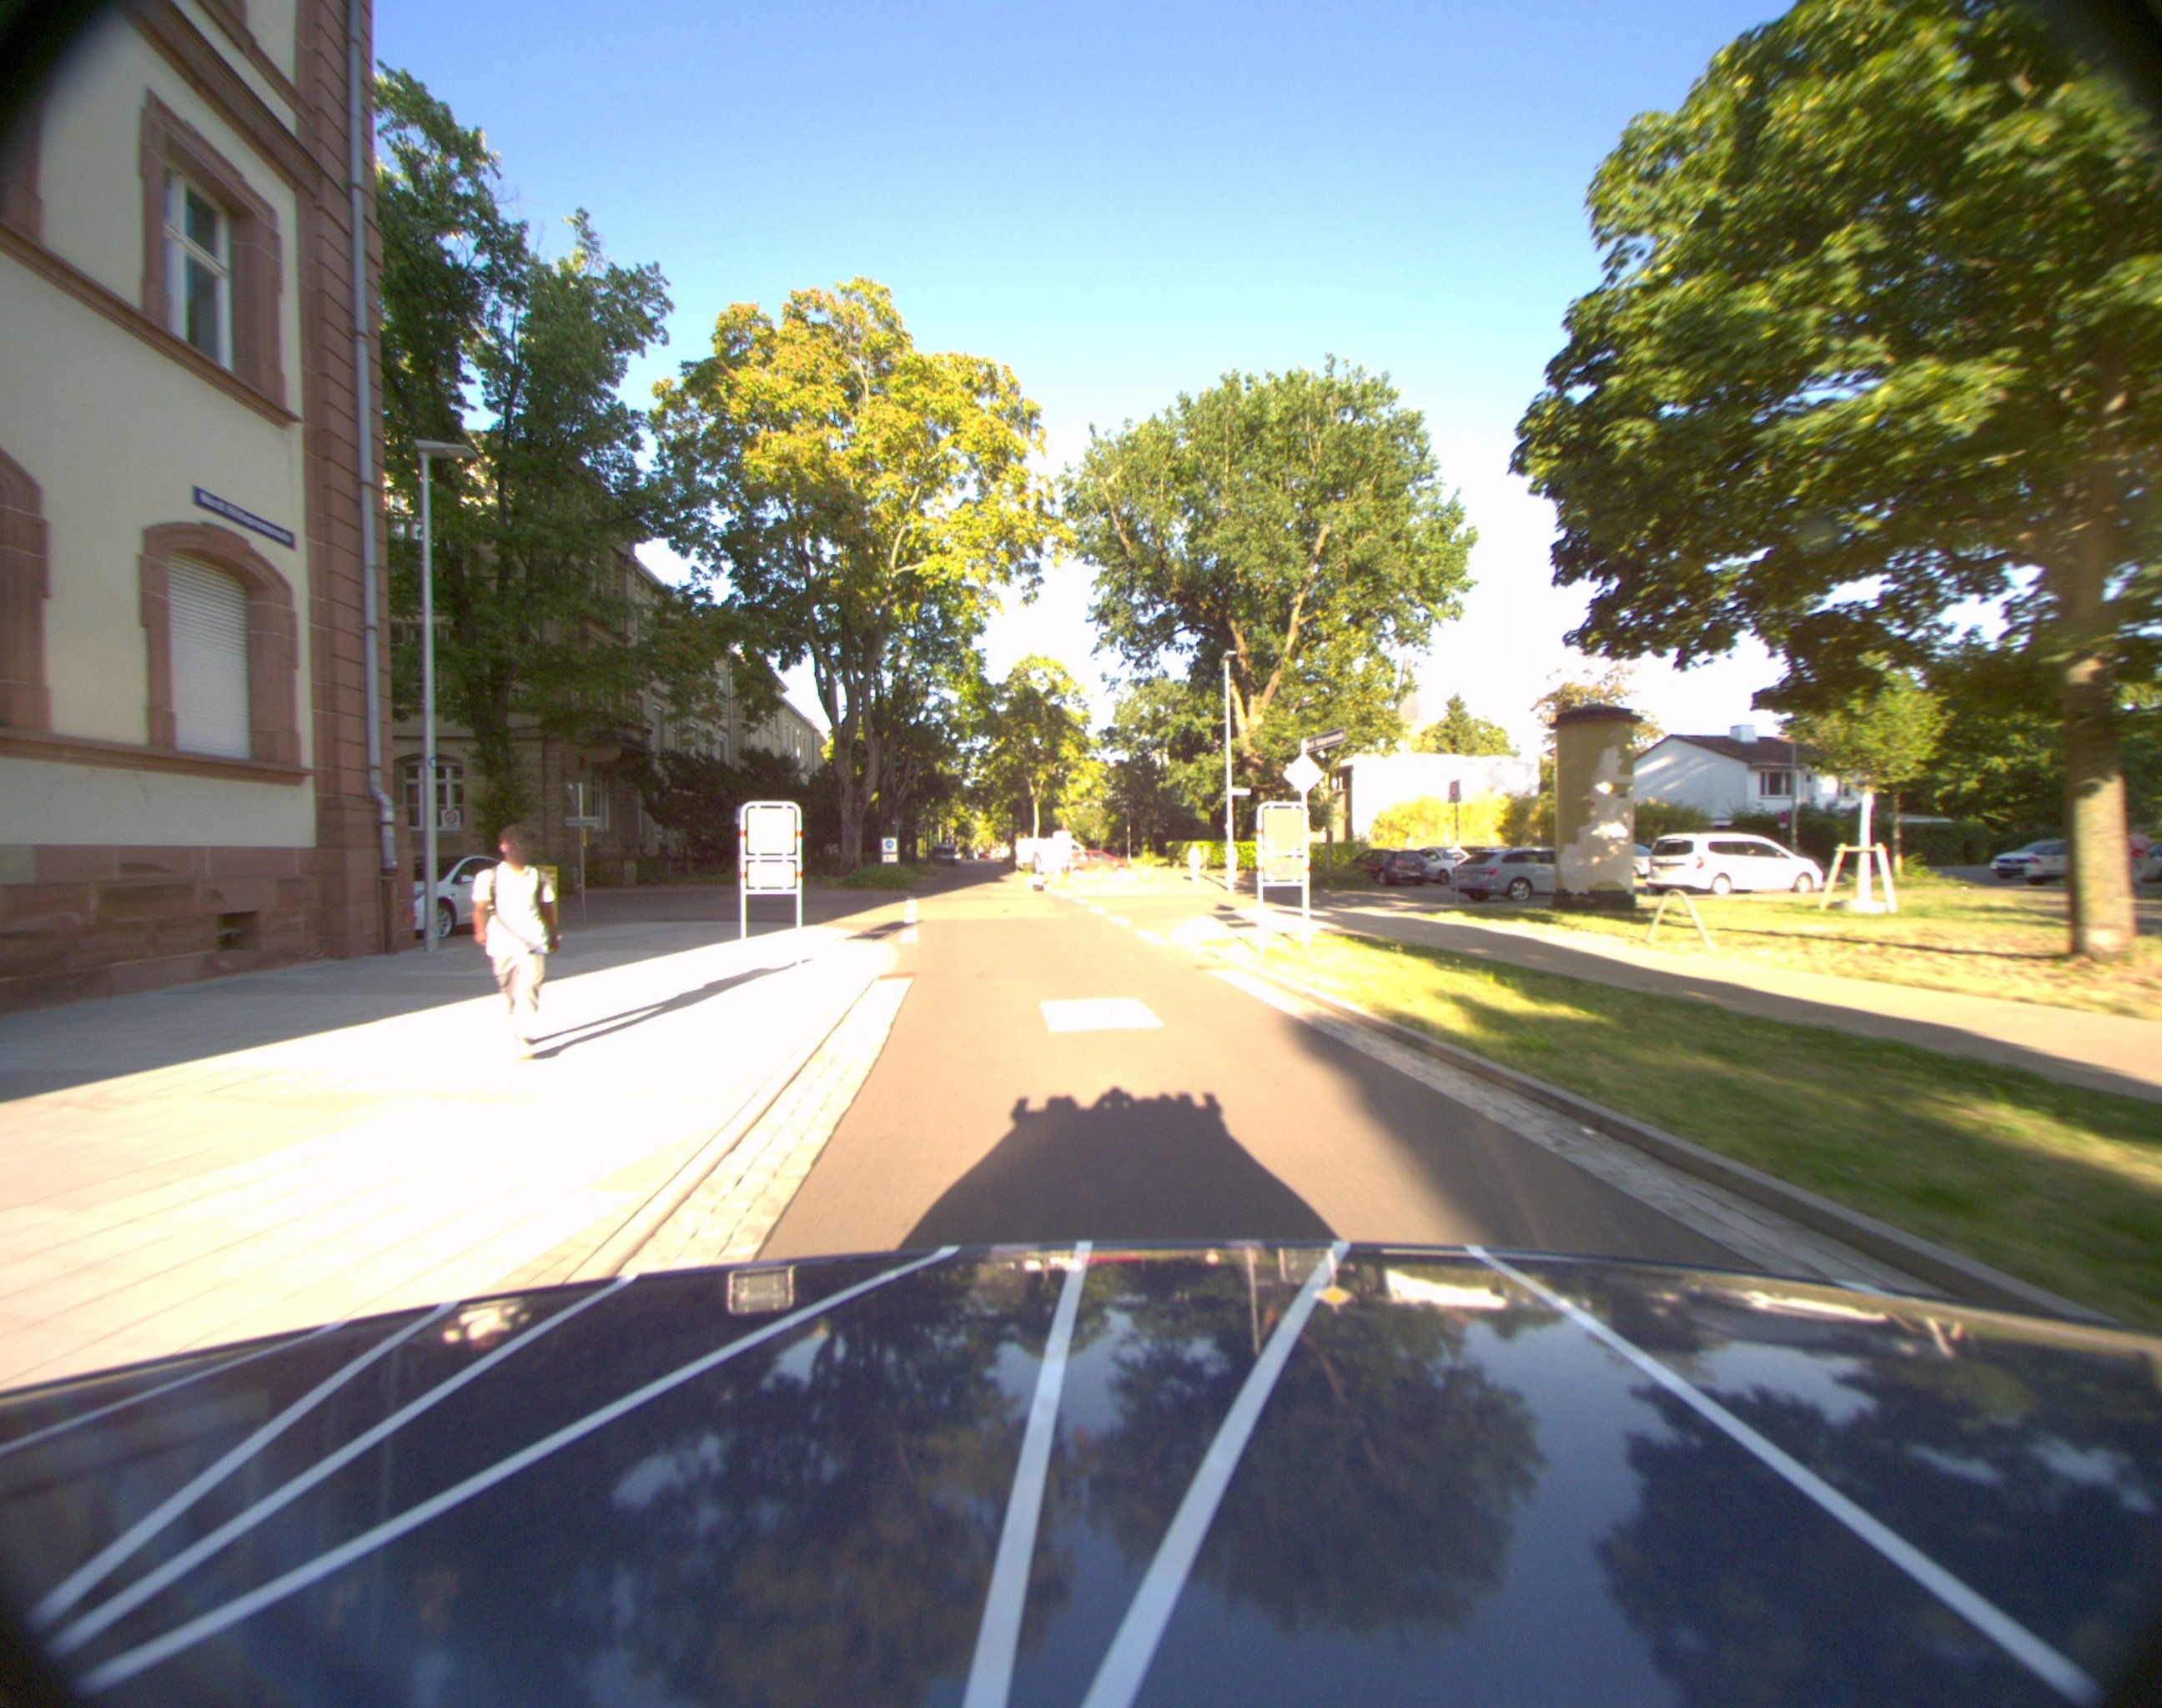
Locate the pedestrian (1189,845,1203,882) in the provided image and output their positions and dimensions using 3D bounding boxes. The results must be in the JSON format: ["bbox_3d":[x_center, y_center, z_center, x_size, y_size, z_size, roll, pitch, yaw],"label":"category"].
[{"bbox_3d":[4.959,0.383,32.679,0.435,1.572,0.666,-1,1,-4],"label":"pedestrian"}]

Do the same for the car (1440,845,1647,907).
[{"bbox_3d":[12.722,0.569,21.031,4.838,1.549,1.866,-1,1,-9],"label":"car"}]

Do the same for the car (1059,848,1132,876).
[{"bbox_3d":[0.775,0.430,41.314,3.680,1.412,1.716,-1,1,-11],"label":"car"}]

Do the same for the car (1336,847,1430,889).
[{"bbox_3d":[12.077,0.505,30.666,1.645,1.507,3.996,-1,1,-10],"label":"car"}]

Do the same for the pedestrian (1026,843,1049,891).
[{"bbox_3d":[-1.742,0.536,30.566,0.615,1.907,0.721,-1,0,-32],"label":"pedestrian"}]

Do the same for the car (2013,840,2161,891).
[{"bbox_3d":[32.750,0.345,24.724,3.310,1.500,1.716,-2,1,-11],"label":"car"}]

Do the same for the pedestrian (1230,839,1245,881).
[{"bbox_3d":[6.634,0.240,32.322,0.435,1.765,0.666,-1,1,-4],"label":"pedestrian"}]

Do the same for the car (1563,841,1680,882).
[{"bbox_3d":[22.981,0.271,32.507,1.745,1.529,3.918,-1,2,-11],"label":"car"}]

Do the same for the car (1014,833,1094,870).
[{"bbox_3d":[-2.101,-0.231,58.867,5.911,2.685,2.218,-1,1,-11],"label":"car"}]

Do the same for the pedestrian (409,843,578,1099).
[{"bbox_3d":[-4.261,0.784,5.587,0.534,1.709,1.002,2,1,-8],"label":"pedestrian"}]

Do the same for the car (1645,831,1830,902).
[{"bbox_3d":[19.055,0.330,22.136,4.238,1.905,1.761,-1,1,-9],"label":"car"}]

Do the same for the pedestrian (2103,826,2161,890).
[{"bbox_3d":[29.025,0.106,20.970,0.747,1.727,0.716,-1,1,-9],"label":"pedestrian"}]

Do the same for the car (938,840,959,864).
[{"bbox_3d":[-14.543,-0.263,83.683,1.952,2.584,4.163,-1,1,-6],"label":"car"}]

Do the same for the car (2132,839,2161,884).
[{"bbox_3d":[38.038,0.238,25.496,3.679,1.500,1.716,0,0,-8],"label":"car"}]

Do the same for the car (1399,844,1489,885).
[{"bbox_3d":[14.772,0.389,31.124,1.638,1.483,3.351,-1,2,-11],"label":"car"}]

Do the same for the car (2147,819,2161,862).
[{"bbox_3d":[50.759,-0.627,33.809,4.448,1.919,2.059,-1,1,-8],"label":"car"}]

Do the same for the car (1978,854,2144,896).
[{"bbox_3d":[37.780,0.801,29.342,4.344,1.526,1.783,-1,0,-3],"label":"car"}]

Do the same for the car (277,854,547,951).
[{"bbox_3d":[-12.865,0.888,15.122,1.967,1.579,4.718,-1,-2,-12],"label":"car"}]

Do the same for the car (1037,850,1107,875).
[{"bbox_3d":[-0.588,0.509,46.912,4.060,1.412,1.716,-1,1,-11],"label":"car"}]
